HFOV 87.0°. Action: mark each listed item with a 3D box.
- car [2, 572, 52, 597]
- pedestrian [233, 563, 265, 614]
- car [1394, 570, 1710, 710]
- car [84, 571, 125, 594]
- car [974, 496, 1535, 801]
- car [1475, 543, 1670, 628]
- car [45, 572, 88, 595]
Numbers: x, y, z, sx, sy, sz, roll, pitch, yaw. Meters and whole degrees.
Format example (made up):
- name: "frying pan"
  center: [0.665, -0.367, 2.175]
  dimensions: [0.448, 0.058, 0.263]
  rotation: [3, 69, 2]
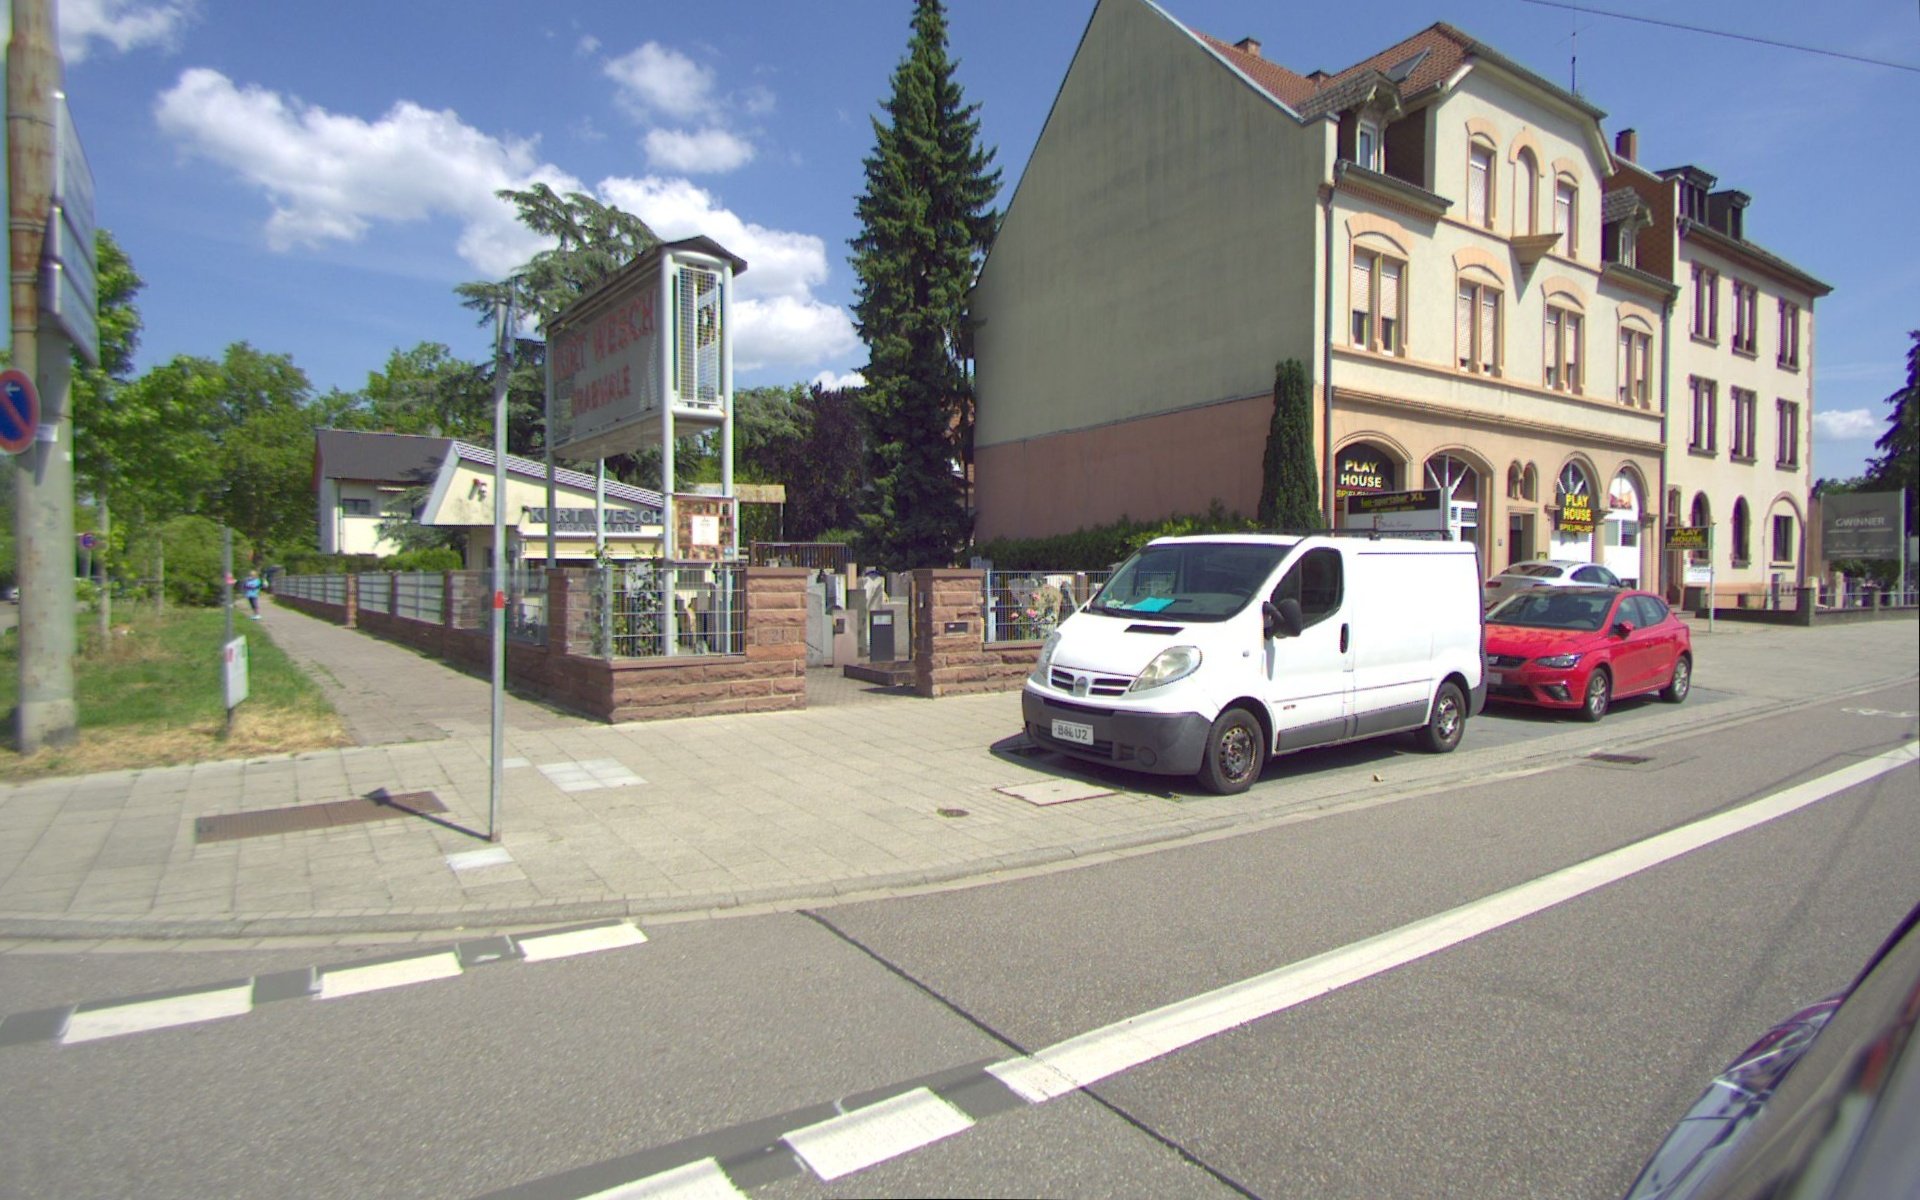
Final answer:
- name: "car"
  center: [-55.327, -0.925, 60.064]
  dimensions: [1.726, 1.462, 3.998]
  rotation: [-2, 2, -37]
- name: "pedestrian"
  center: [-24.391, -0.386, 34.692]
  dimensions: [0.776, 1.680, 1.001]
  rotation: [-1, -1, -42]
- name: "car"
  center: [7.424, 0.387, 12.587]
  dimensions: [3.942, 1.460, 1.999]
  rotation: [-1, 1, -36]
- name: "car"
  center: [-55.673, -1.137, 65.896]
  dimensions: [1.726, 1.462, 3.998]
  rotation: [-2, 2, -37]
- name: "car"
  center: [2.878, 0.227, 9.125]
  dimensions: [5.413, 2.016, 2.000]
  rotation: [-1, 3, -37]
- name: "car"
  center: [13.453, -0.367, 22.163]
  dimensions: [4.551, 1.643, 1.885]
  rotation: [-1, 4, -34]
- name: "car"
  center: [-58.231, -1.069, 65.983]
  dimensions: [1.726, 1.462, 3.998]
  rotation: [-2, 2, -37]
